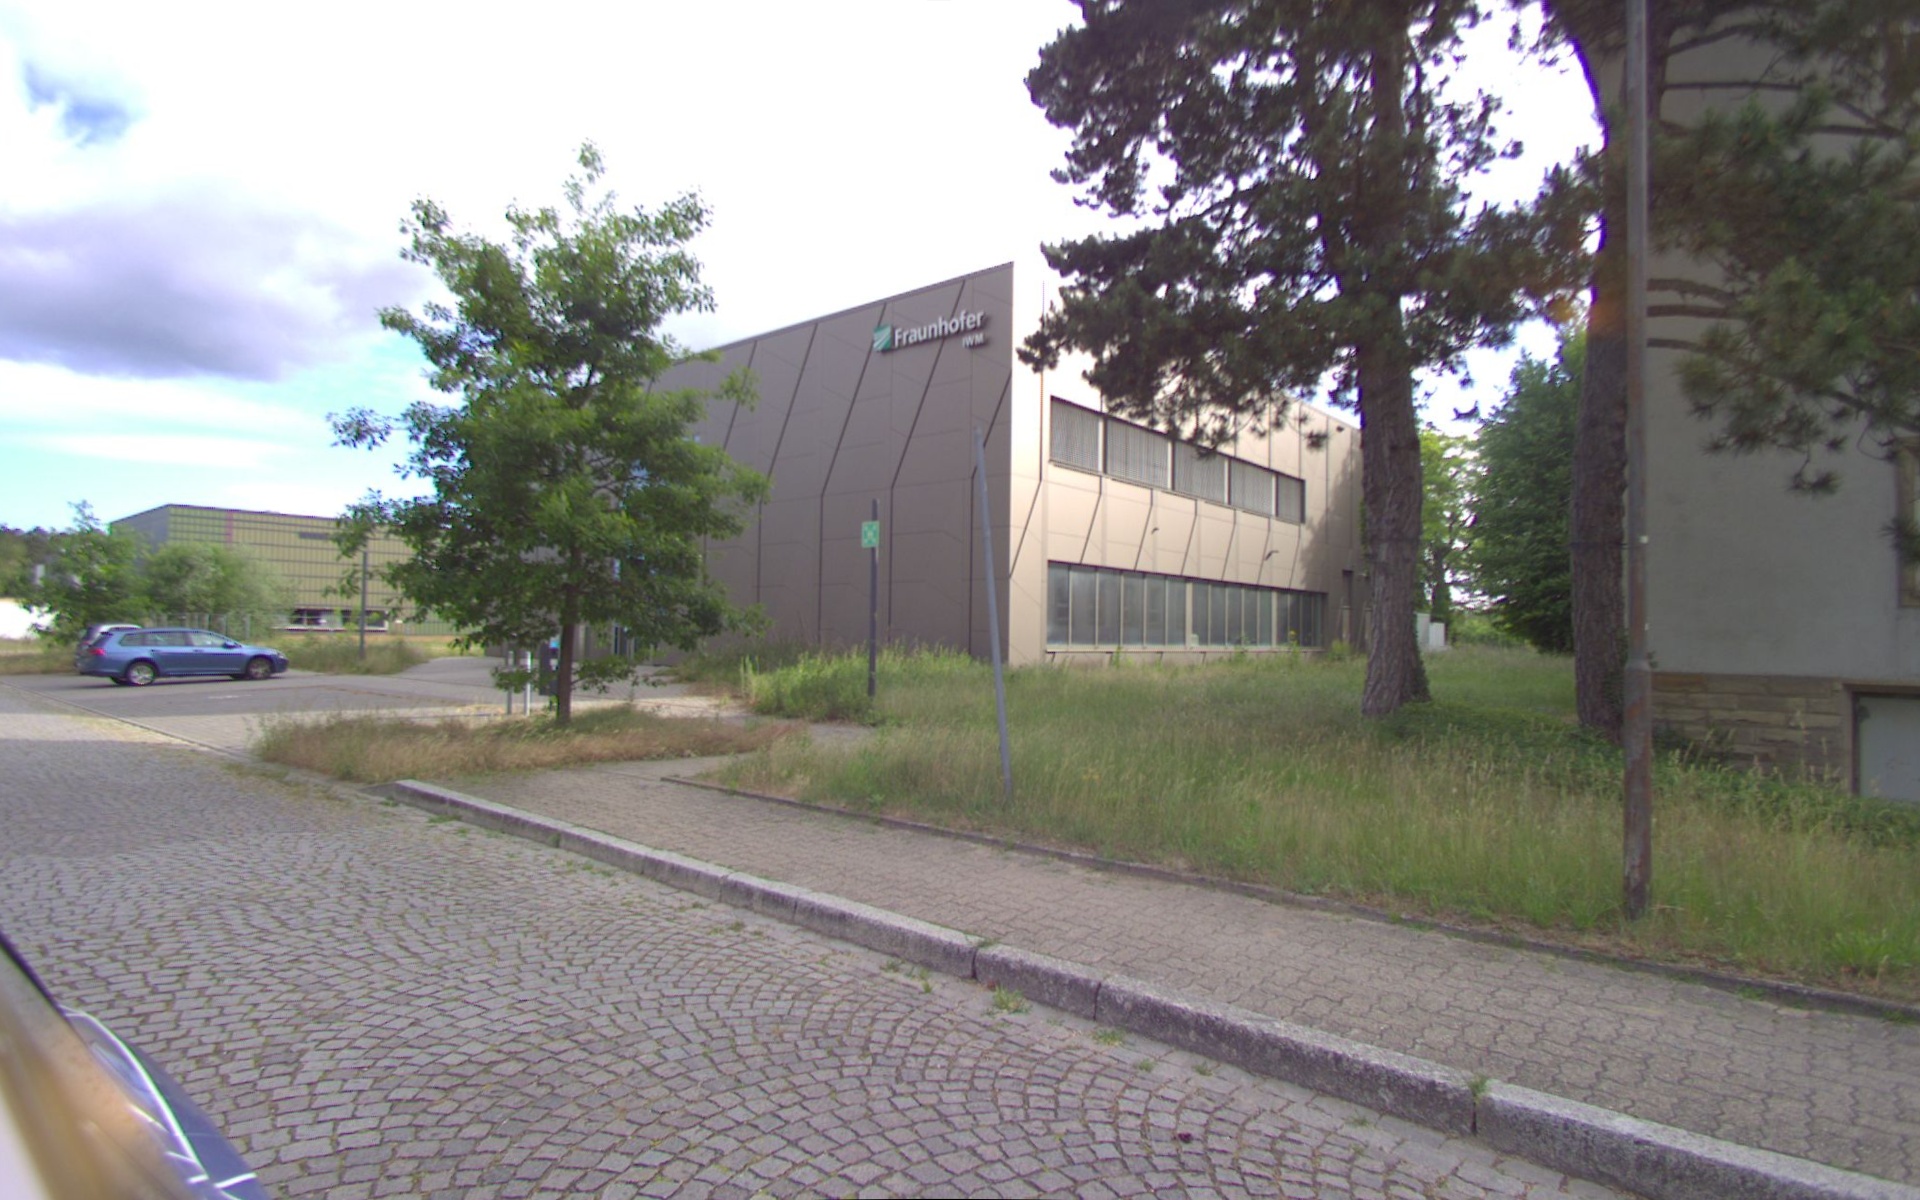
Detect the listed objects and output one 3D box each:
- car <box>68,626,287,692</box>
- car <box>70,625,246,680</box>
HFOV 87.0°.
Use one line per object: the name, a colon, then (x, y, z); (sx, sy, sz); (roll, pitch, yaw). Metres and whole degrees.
car: (-20.742, 1.494, 26.989); (1.714, 1.522, 4.350); (-1, -1, 38)
car: (-25.743, 1.624, 32.565); (4.340, 1.558, 1.843); (0, -1, -43)
